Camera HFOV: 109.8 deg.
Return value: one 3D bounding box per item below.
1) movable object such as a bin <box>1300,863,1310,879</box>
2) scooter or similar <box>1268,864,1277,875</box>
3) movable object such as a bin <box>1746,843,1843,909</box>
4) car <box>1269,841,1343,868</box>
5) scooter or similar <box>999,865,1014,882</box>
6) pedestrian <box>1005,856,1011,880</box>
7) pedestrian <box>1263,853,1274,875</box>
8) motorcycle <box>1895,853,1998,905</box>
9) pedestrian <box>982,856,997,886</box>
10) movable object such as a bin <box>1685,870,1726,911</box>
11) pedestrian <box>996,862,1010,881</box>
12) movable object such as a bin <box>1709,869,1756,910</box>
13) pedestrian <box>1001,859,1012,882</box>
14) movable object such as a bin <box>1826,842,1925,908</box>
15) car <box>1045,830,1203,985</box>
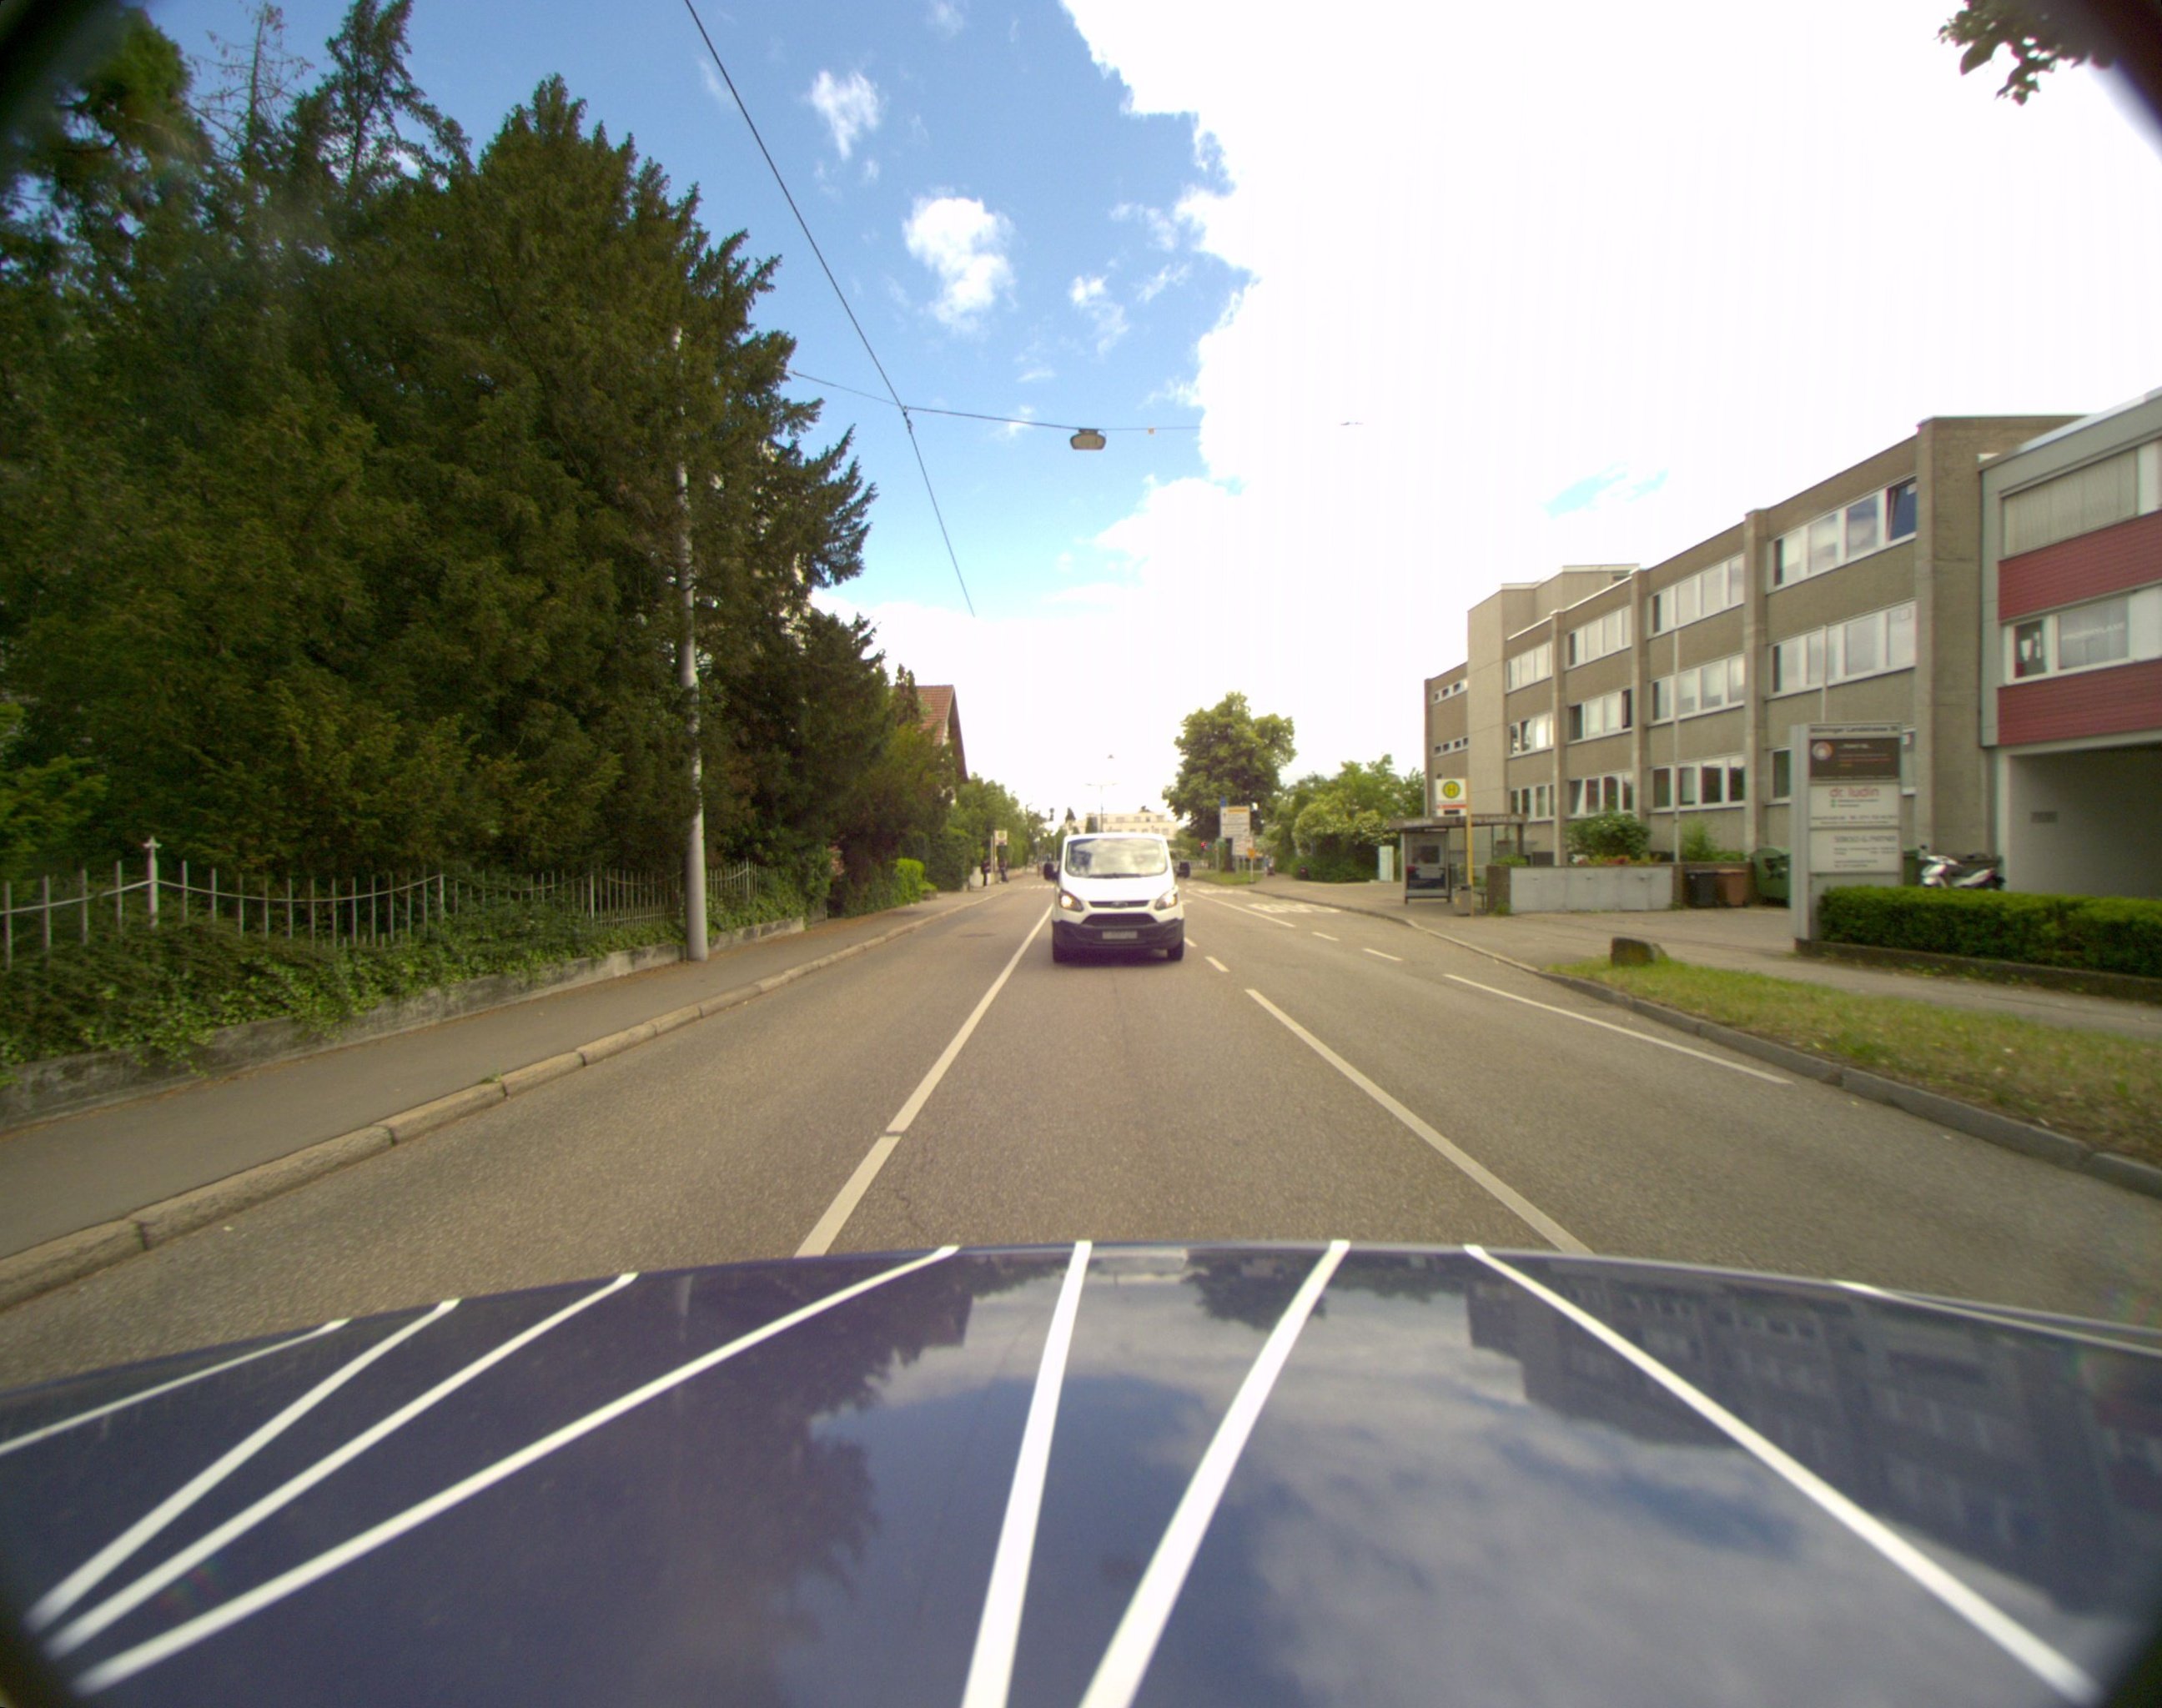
[{"bbox_3d":[13.575,1.008,46.083,0.566,0.922,0.608,-1,1,16],"label":"movable object such as a bin"},{"bbox_3d":[13.806,1.130,54.806,0.607,0.782,0.860,-2,1,17],"label":"scooter or similar"},{"bbox_3d":[16.730,0.503,17.847,1.301,1.457,0.992,-2,1,1],"label":"movable object such as a bin"},{"bbox_3d":[24.089,0.018,81.372,7.431,2.630,2.200,-2,1,16],"label":"car"},{"bbox_3d":[-5.120,1.332,51.987,0.478,1.091,0.860,3,1,43],"label":"scooter or similar"},{"bbox_3d":[-5.361,1.034,55.551,0.344,1.745,0.496,2,1,-4],"label":"pedestrian"},{"bbox_3d":[13.774,0.739,55.759,0.672,1.549,0.520,-2,1,18],"label":"pedestrian"},{"bbox_3d":[20.284,0.567,17.820,1.645,1.133,0.639,-2,1,1],"label":"motorcycle"},{"bbox_3d":[-5.357,0.989,44.484,0.489,1.757,0.672,-1,1,32],"label":"pedestrian"},{"bbox_3d":[14.856,0.862,18.082,0.517,0.933,0.562,-2,1,1],"label":"movable object such as a bin"},{"bbox_3d":[-5.247,1.156,51.049,0.916,1.244,0.789,2,1,-5],"label":"pedestrian"},{"bbox_3d":[15.505,0.839,18.094,0.634,0.933,0.562,-2,1,1],"label":"movable object such as a bin"},{"bbox_3d":[-5.155,1.141,52.837,0.661,1.526,0.748,2,1,-1],"label":"pedestrian"},{"bbox_3d":[18.561,0.466,17.768,1.365,1.457,0.885,-2,1,1],"label":"movable object such as a bin"},{"bbox_3d":[0.531,0.676,12.822,1.999,1.961,5.714,-2,1,-1],"label":"car"}]
